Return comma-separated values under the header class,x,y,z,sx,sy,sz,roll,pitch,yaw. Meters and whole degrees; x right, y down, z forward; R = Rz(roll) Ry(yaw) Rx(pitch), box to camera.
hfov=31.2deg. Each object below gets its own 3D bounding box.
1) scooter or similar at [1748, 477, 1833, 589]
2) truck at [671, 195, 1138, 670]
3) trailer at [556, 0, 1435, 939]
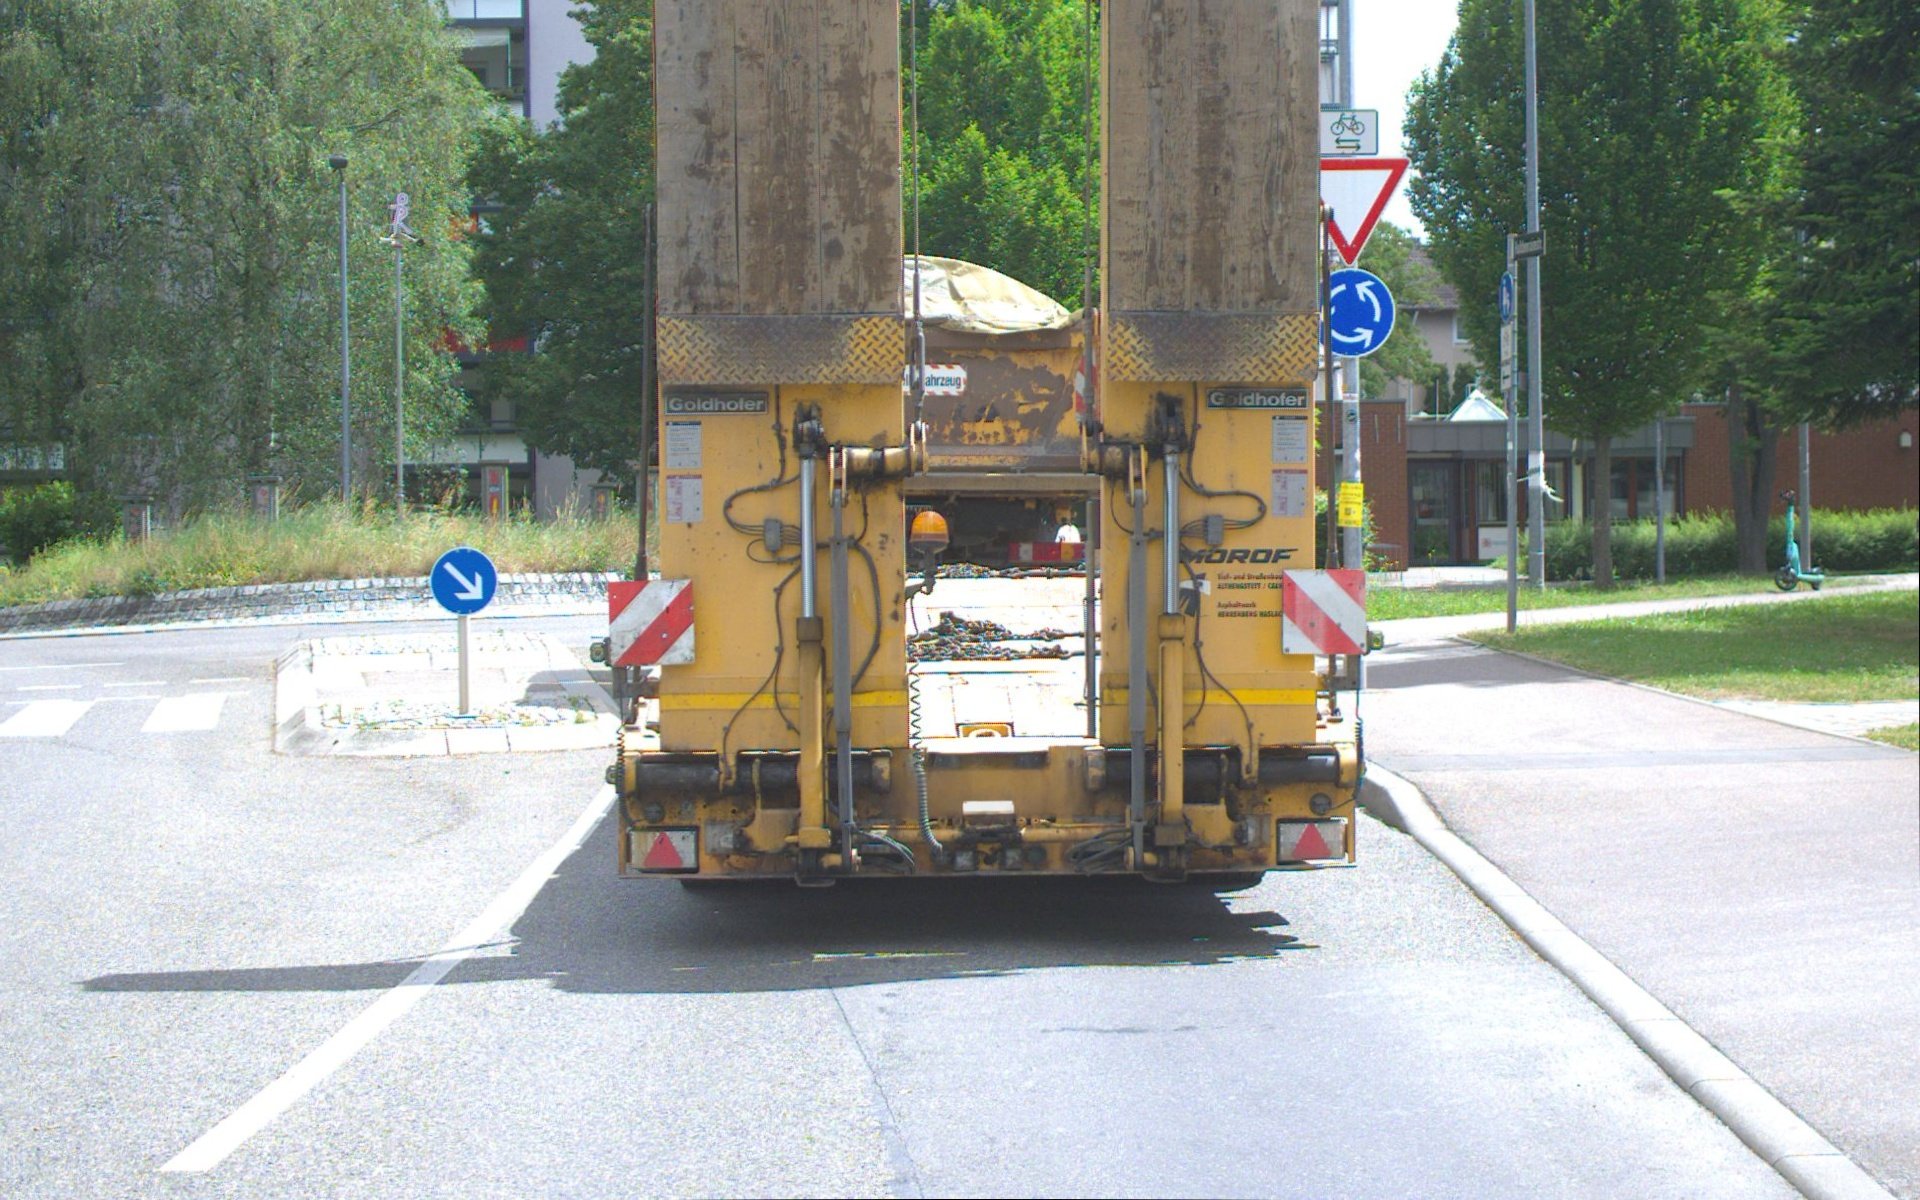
class,x,y,z,sx,sy,sz,roll,pitch,yaw
scooter or similar,10.326,-0.842,42.738,0.485,1.338,1.385,-1,2,36
truck,-0.675,-1.272,26.373,2.987,3.024,8.488,0,3,-4
trailer,0.021,-0.766,16.652,2.863,3.360,10.843,0,2,-1
